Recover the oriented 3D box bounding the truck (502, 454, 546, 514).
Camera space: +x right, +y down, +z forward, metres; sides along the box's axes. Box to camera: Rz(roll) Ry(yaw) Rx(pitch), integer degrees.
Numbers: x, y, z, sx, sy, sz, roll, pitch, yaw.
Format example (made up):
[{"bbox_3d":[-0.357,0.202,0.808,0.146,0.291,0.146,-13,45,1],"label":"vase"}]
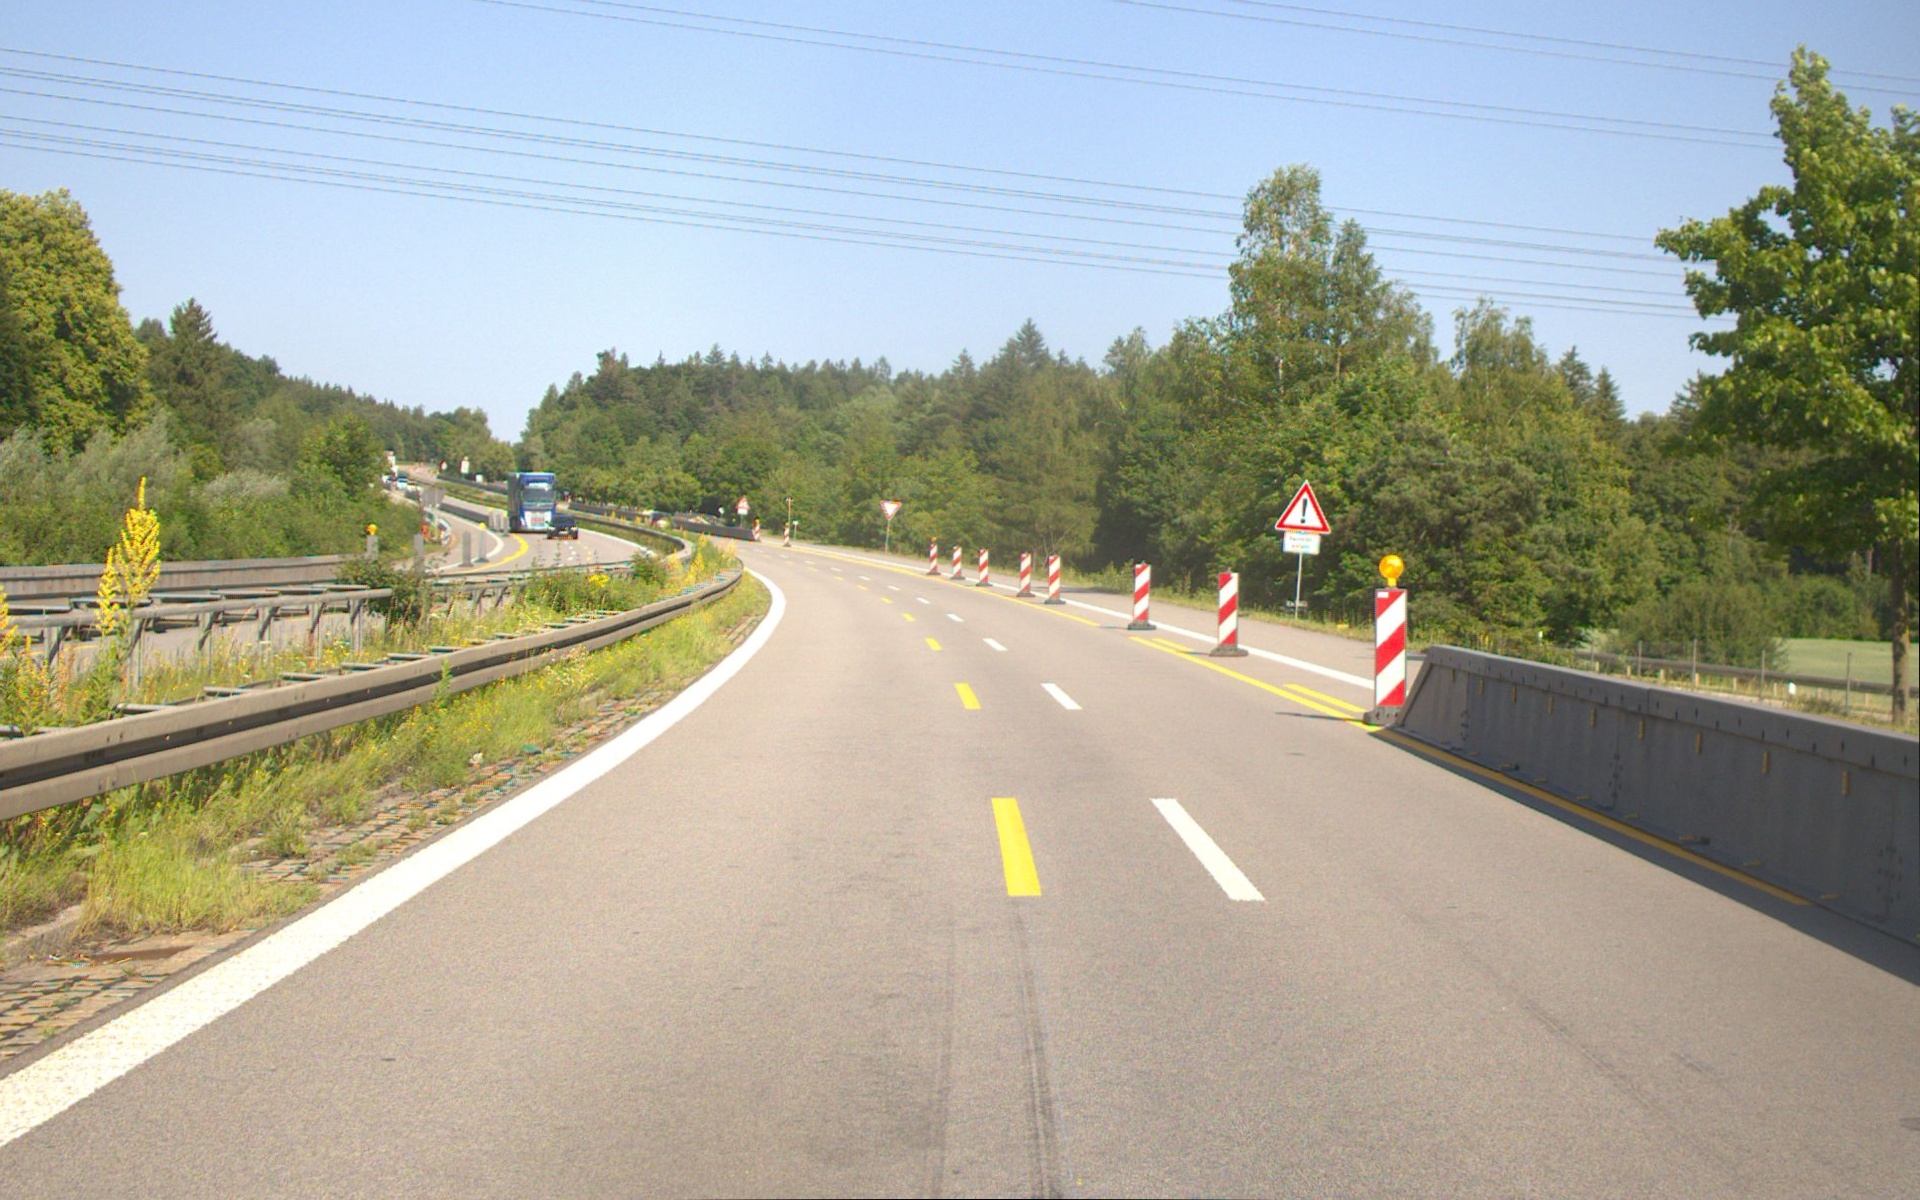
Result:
[{"bbox_3d":[-29.195,-7.737,230.255,2.632,3.946,5.844,1,1,-5],"label":"truck"}]
